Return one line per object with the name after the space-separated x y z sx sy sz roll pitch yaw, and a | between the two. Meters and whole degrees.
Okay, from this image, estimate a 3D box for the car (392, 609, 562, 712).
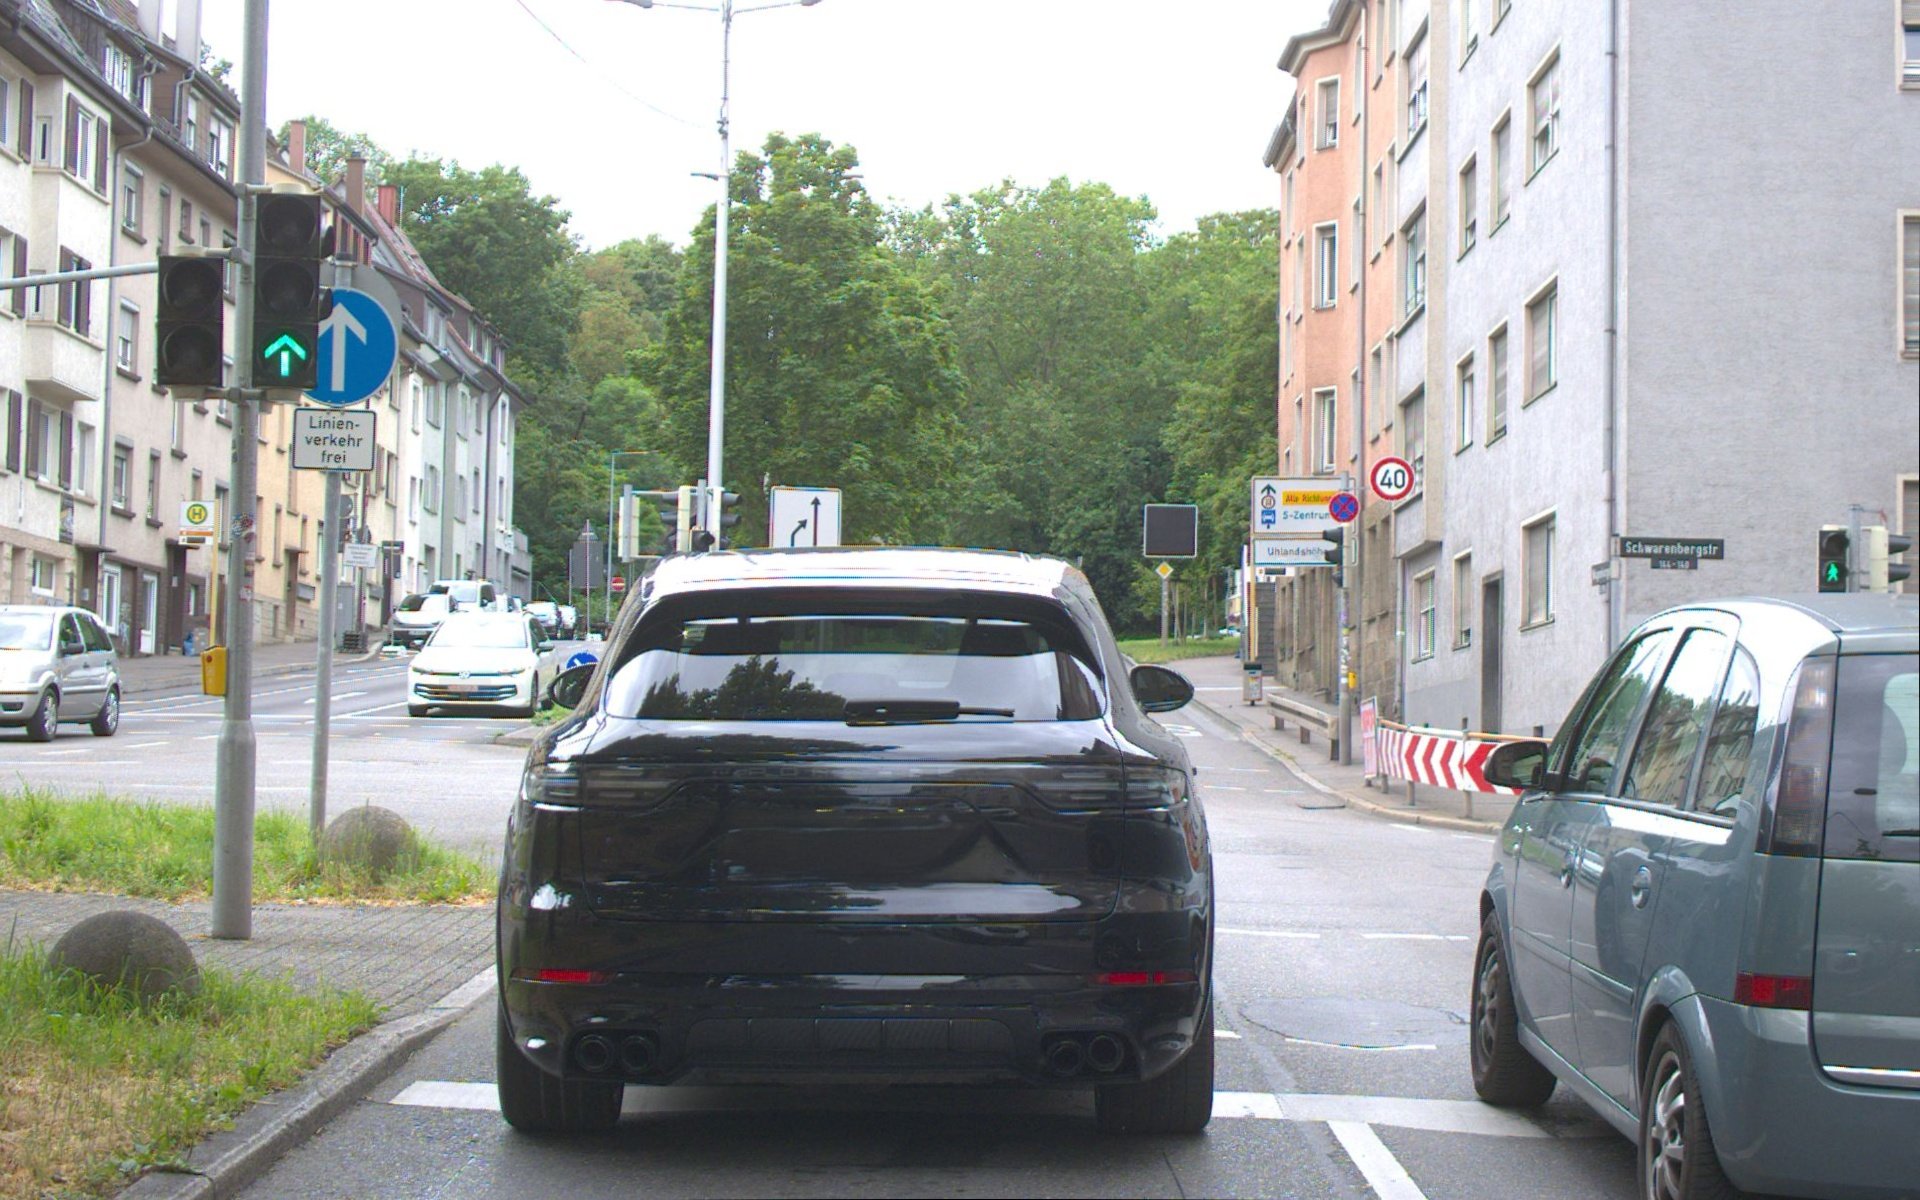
-6.868 0.836 49.255 1.862 1.383 4.094 1 0 0 | car

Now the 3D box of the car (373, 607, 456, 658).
-15.446 0.905 97.465 1.739 1.382 3.813 1 0 0 | car

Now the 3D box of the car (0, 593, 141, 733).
-10.478 0.699 38.252 1.619 1.475 3.822 1 -1 3 | car

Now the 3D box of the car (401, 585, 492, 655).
-15.377 0.601 103.089 2.016 2.038 4.666 1 0 0 | car

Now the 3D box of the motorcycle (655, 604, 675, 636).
-9.517 0.648 110.787 0.511 1.037 1.389 1 0 0 | motorcycle

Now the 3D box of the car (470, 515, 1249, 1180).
-0.274 0.630 10.642 1.955 1.669 4.000 0 0 -1 | car

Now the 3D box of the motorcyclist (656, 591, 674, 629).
-9.513 0.326 110.786 0.511 1.222 0.467 1 0 0 | motorcyclist

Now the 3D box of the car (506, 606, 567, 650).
-15.196 0.988 123.471 1.689 1.533 3.813 1 0 0 | car

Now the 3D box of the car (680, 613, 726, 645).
-10.151 1.145 136.099 1.551 1.253 3.662 1 0 0 | car

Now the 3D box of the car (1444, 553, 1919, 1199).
2.406 0.757 8.973 1.628 1.592 3.669 4 0 -1 | car
